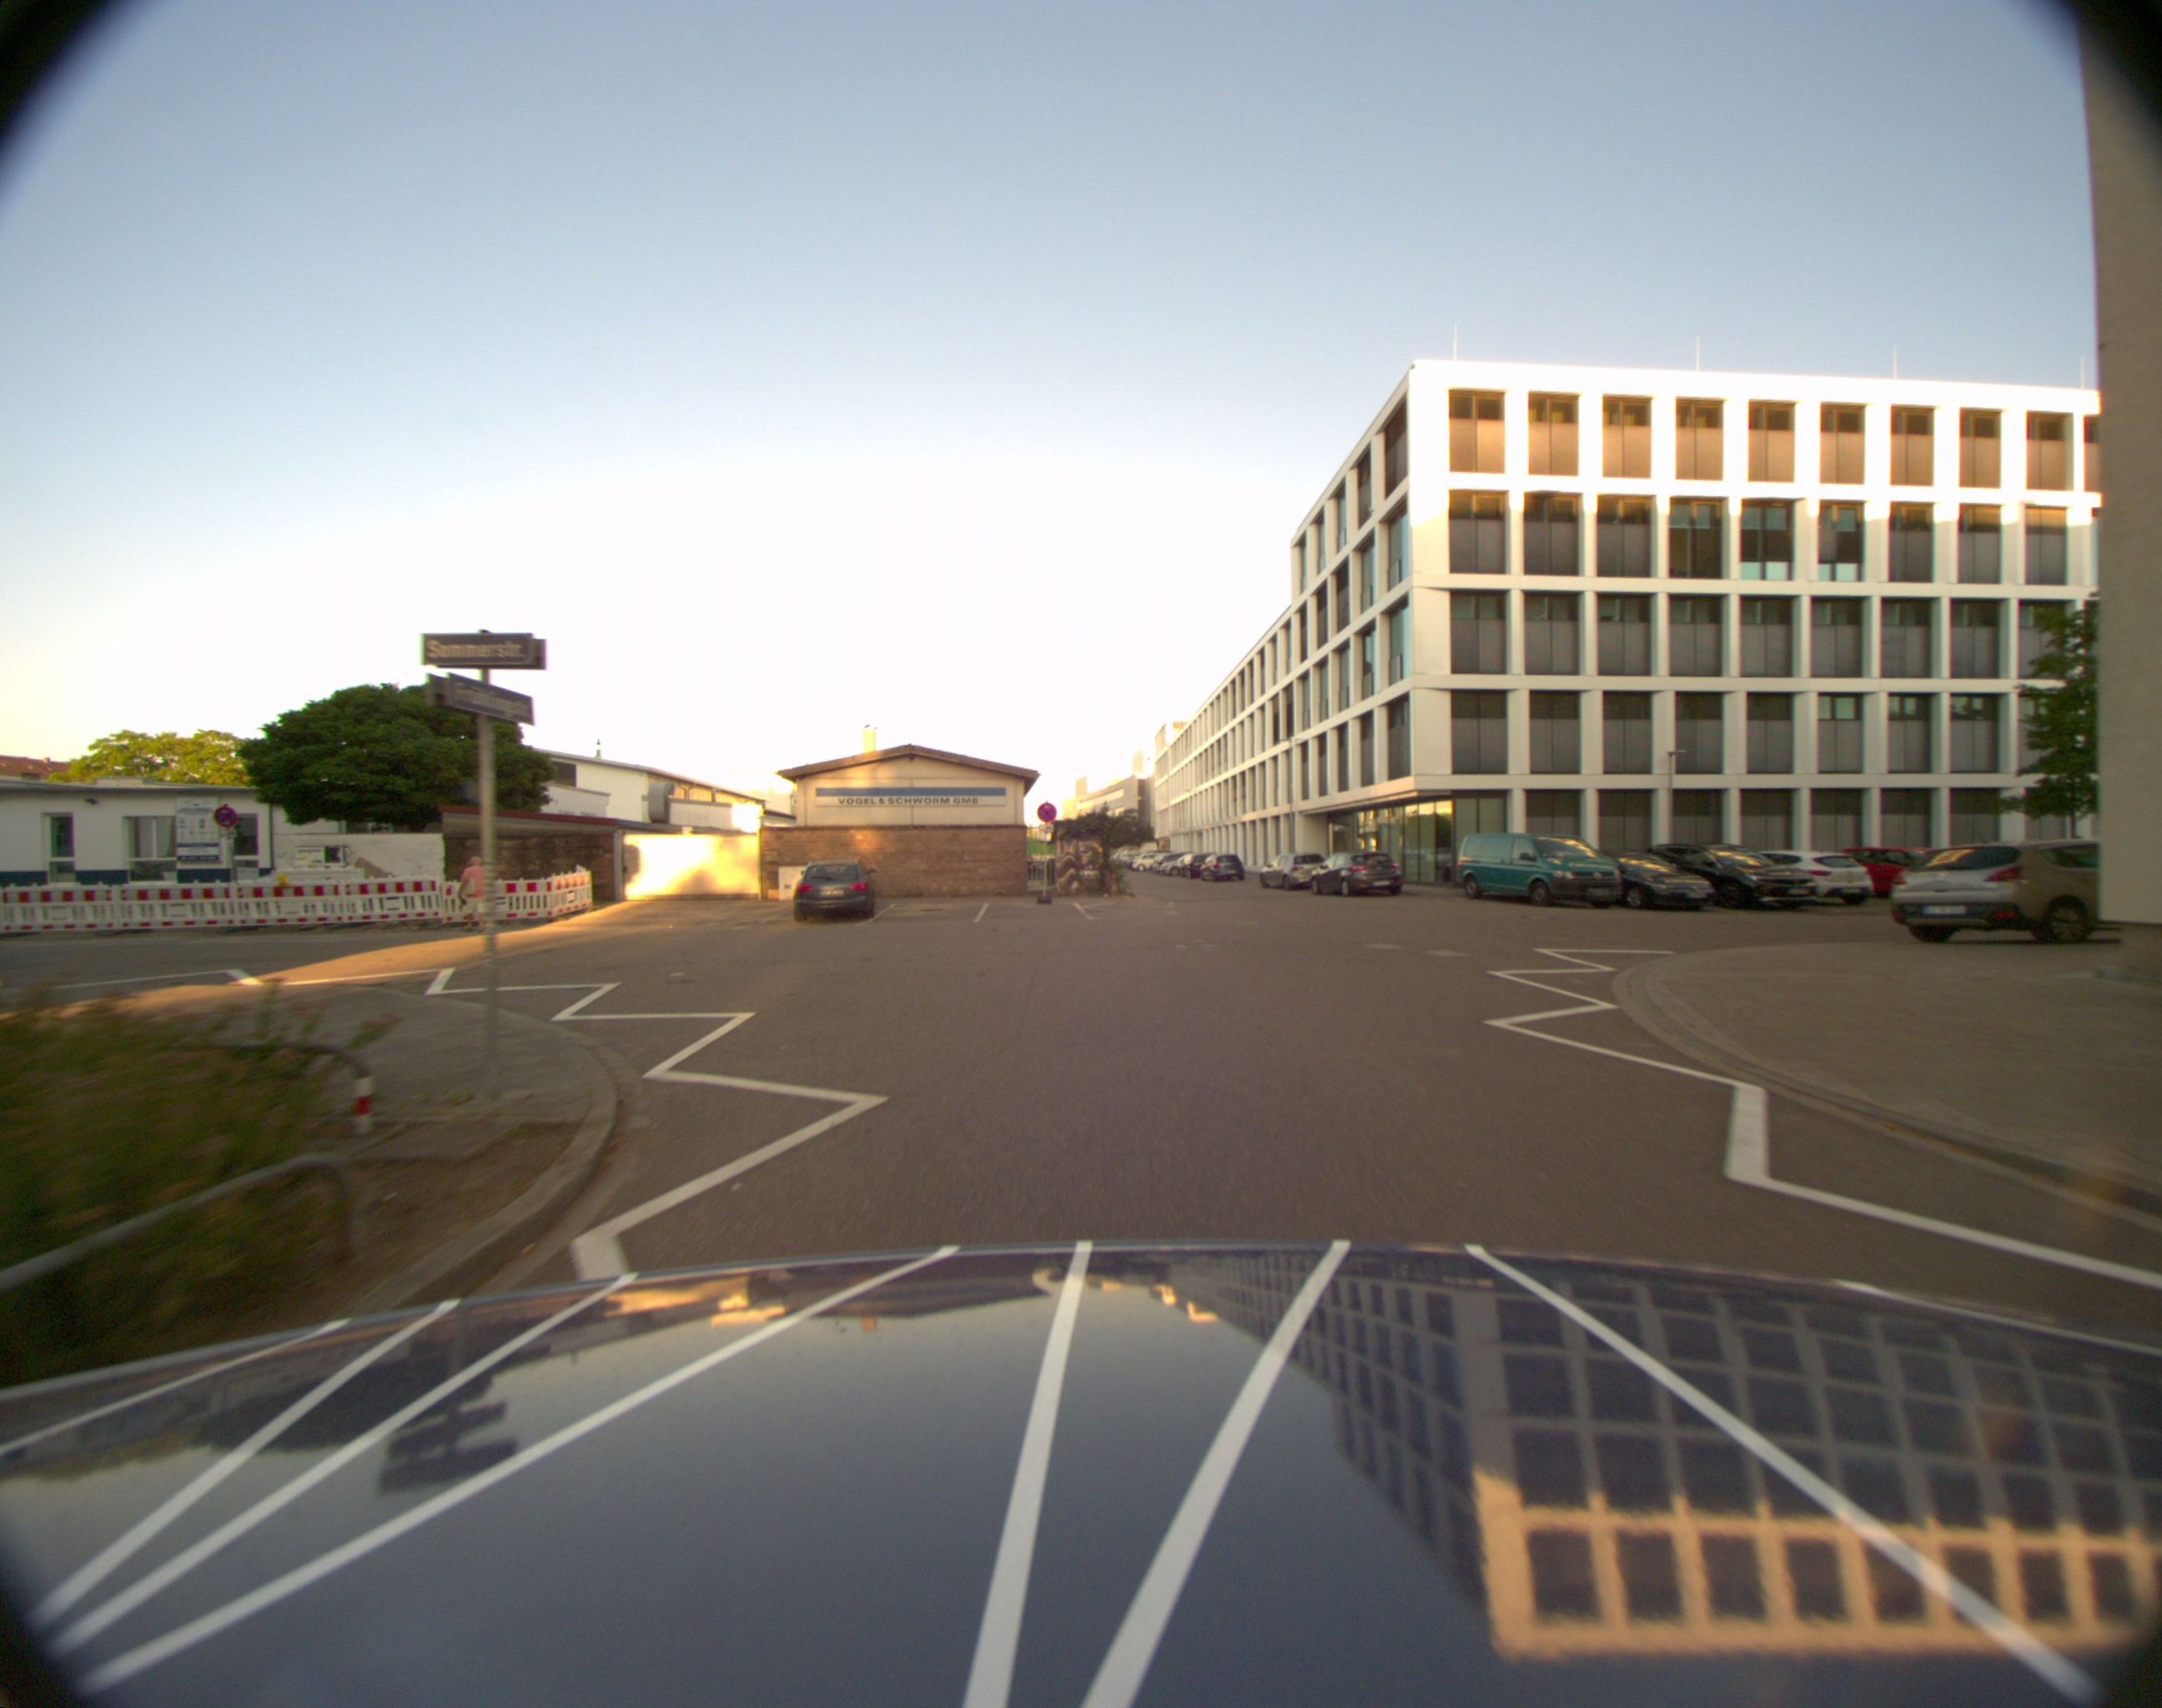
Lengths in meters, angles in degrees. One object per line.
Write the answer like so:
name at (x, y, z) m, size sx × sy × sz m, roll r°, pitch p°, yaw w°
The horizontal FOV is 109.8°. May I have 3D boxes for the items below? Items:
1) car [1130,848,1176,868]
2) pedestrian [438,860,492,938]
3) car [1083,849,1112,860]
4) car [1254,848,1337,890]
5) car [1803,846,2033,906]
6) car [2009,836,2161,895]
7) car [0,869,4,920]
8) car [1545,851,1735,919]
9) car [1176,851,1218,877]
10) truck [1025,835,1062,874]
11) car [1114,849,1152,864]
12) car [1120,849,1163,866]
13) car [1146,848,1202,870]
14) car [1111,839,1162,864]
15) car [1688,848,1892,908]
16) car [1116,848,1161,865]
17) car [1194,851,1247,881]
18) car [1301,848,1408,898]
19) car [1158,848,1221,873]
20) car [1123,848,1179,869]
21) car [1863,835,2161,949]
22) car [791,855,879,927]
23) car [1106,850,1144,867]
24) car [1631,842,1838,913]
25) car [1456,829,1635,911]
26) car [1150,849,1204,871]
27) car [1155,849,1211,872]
car at (6.000, 0.363, 63.384) m, size 3.675 × 1.502 × 1.696 m, roll -2°, pitch -1°, yaw 1°
pedestrian at (-13.512, 0.981, 16.677) m, size 0.628 × 1.655 × 0.788 m, roll -2°, pitch -2°, yaw 35°
car at (3.001, 0.125, 139.057) m, size 5.085 × 1.870 × 1.888 m, roll -3°, pitch 0°, yaw -9°
car at (8.732, 0.603, 31.323) m, size 1.715 × 1.470 × 4.182 m, roll -4°, pitch 0°, yaw -7°
car at (23.528, 0.534, 21.640) m, size 1.734 × 1.448 × 4.196 m, roll -1°, pitch 2°, yaw -4°
car at (31.252, 0.297, 22.572) m, size 1.734 × 1.603 × 4.461 m, roll -1°, pitch 2°, yaw -4°
car at (-36.935, 1.364, 23.340) m, size 1.846 × 1.694 × 4.003 m, roll -1°, pitch 0°, yaw 10°
car at (15.022, 0.755, 20.782) m, size 1.785 × 1.541 × 4.328 m, roll -1°, pitch 2°, yaw -4°
car at (7.150, 0.595, 47.022) m, size 1.652 × 1.430 × 4.201 m, roll -4°, pitch 0°, yaw -3°
truck at (-2.326, 0.109, 46.166) m, size 2.104 × 2.187 × 5.710 m, roll 0°, pitch -2°, yaw -4°
car at (5.438, 0.285, 79.717) m, size 3.718 × 1.486 × 1.707 m, roll -2°, pitch -1°, yaw -2°
car at (5.721, 0.358, 72.002) m, size 3.792 × 1.513 × 1.693 m, roll -2°, pitch 0°, yaw -4°
car at (7.114, 0.393, 58.311) m, size 3.975 × 1.502 × 1.796 m, roll -2°, pitch -1°, yaw -1°
car at (6.144, -0.238, 84.329) m, size 5.395 × 2.617 × 2.078 m, roll -2°, pitch 0°, yaw -1°
car at (20.000, 0.598, 21.735) m, size 1.734 × 1.448 × 4.196 m, roll -1°, pitch 2°, yaw -4°
car at (5.811, 0.271, 77.070) m, size 4.319 × 1.486 × 1.795 m, roll -2°, pitch -1°, yaw -1°
car at (7.494, 0.622, 41.113) m, size 1.653 × 1.430 × 4.183 m, roll -4°, pitch 0°, yaw -5°
car at (9.125, 0.603, 25.773) m, size 1.785 × 1.470 × 4.329 m, roll -2°, pitch 0°, yaw -4°
car at (7.234, 0.464, 51.035) m, size 3.937 × 1.502 × 1.687 m, roll -2°, pitch 0°, yaw -1°
car at (6.022, 0.397, 65.938) m, size 4.630 × 1.696 × 2.005 m, roll -2°, pitch -1°, yaw 1°
car at (15.283, 0.609, 12.019) m, size 4.019 × 1.607 × 1.881 m, roll -1°, pitch -4°, yaw -6°
car at (-6.199, 0.837, 19.599) m, size 1.833 × 1.522 × 4.721 m, roll -1°, pitch 1°, yaw -14°
car at (5.177, 0.528, 89.385) m, size 4.121 × 1.806 × 1.815 m, roll -2°, pitch 0°, yaw -6°
car at (17.579, 0.537, 20.772) m, size 1.734 × 1.650 × 4.328 m, roll -1°, pitch 2°, yaw -4°
car at (12.514, 0.368, 20.909) m, size 1.803 × 1.968 × 4.687 m, roll -1°, pitch 1°, yaw -4°
car at (7.061, 0.426, 55.897) m, size 3.664 × 1.502 × 1.687 m, roll -2°, pitch 0°, yaw -2°
car at (7.153, 0.442, 53.671) m, size 3.664 × 1.502 × 1.687 m, roll -2°, pitch 0°, yaw -2°
